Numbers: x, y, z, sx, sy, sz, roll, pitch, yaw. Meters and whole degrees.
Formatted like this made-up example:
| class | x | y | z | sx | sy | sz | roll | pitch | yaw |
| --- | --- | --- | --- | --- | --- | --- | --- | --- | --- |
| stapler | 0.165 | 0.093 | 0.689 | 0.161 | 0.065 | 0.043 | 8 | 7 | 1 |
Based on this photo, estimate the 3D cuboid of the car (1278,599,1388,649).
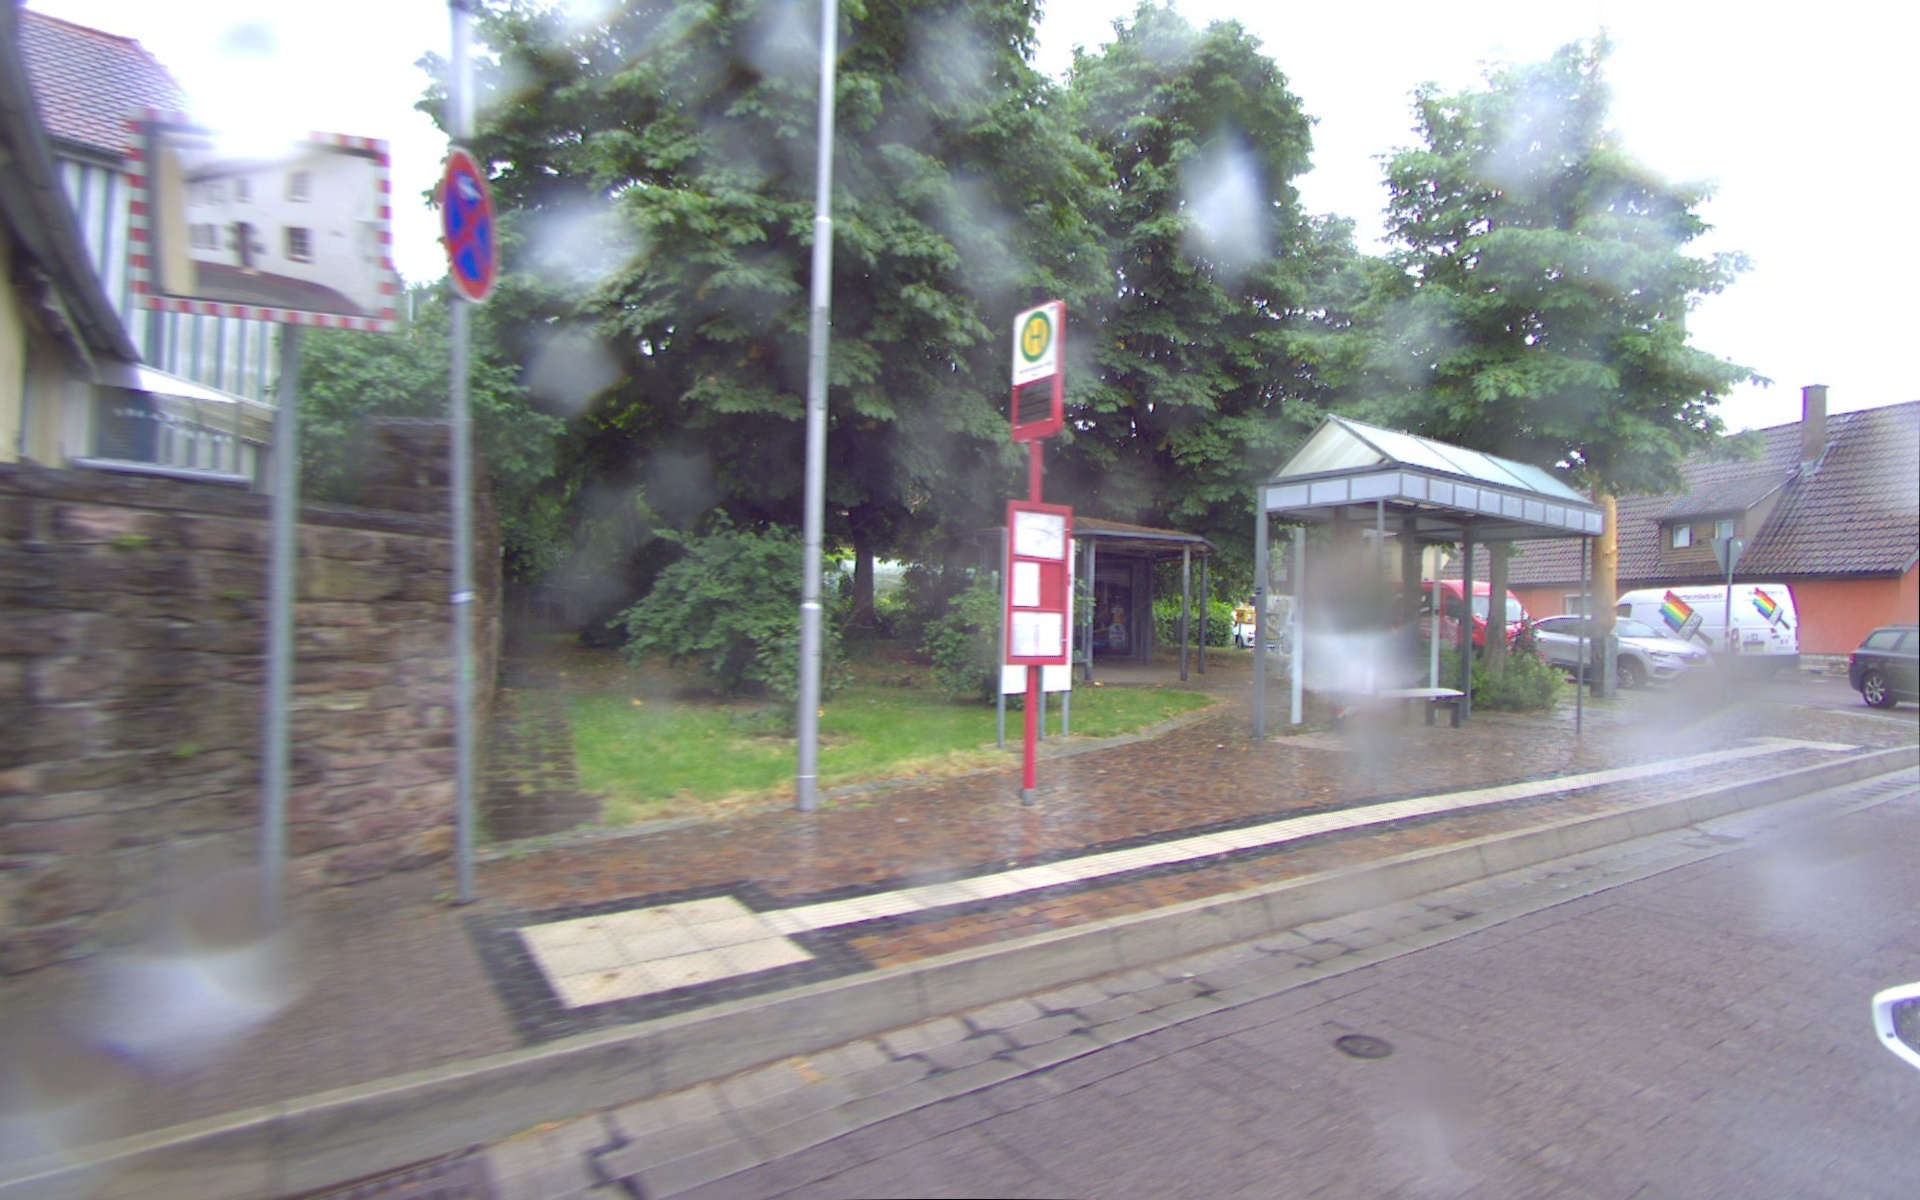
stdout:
| class | x | y | z | sx | sy | sz | roll | pitch | yaw |
| --- | --- | --- | --- | --- | --- | --- | --- | --- | --- |
| car | 12.790 | 0.812 | 34.696 | 1.770 | 1.570 | 3.803 | 2 | -1 | -13 |

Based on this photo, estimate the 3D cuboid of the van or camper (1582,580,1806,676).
| class | x | y | z | sx | sy | sz | roll | pitch | yaw |
| --- | --- | --- | --- | --- | --- | --- | --- | --- | --- |
| van or camper | 20.577 | 0.754 | 28.513 | 2.171 | 2.468 | 5.152 | 0 | -1 | -8 |

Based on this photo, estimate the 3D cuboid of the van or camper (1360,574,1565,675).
| class | x | y | z | sx | sy | sz | roll | pitch | yaw |
| --- | --- | --- | --- | --- | --- | --- | --- | --- | --- |
| van or camper | 13.953 | 0.586 | 28.440 | 2.116 | 2.506 | 5.868 | 2 | 1 | -8 |

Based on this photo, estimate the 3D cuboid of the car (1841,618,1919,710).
| class | x | y | z | sx | sy | sz | roll | pitch | yaw |
| --- | --- | --- | --- | --- | --- | --- | --- | --- | --- |
| car | 16.876 | 1.126 | 16.270 | 1.812 | 1.497 | 4.316 | 3 | 1 | 8 |

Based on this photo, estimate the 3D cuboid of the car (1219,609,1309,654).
| class | x | y | z | sx | sy | sz | roll | pitch | yaw |
| --- | --- | --- | --- | --- | --- | --- | --- | --- | --- |
| car | 11.683 | 1.193 | 38.832 | 1.769 | 1.570 | 3.805 | 2 | -1 | -10 |

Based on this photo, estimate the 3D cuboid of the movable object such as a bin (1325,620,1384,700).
| class | x | y | z | sx | sy | sz | roll | pitch | yaw |
| --- | --- | --- | --- | --- | --- | --- | --- | --- | --- |
| movable object such as a bin | 5.884 | 0.894 | 14.974 | 0.599 | 1.161 | 0.558 | 4 | -2 | -36 |

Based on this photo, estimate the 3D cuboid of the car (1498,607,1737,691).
| class | x | y | z | sx | sy | sz | roll | pitch | yaw |
| --- | --- | --- | --- | --- | --- | --- | --- | --- | --- |
| car | 14.684 | 1.029 | 22.796 | 1.850 | 1.570 | 4.448 | 2 | 1 | -13 |
